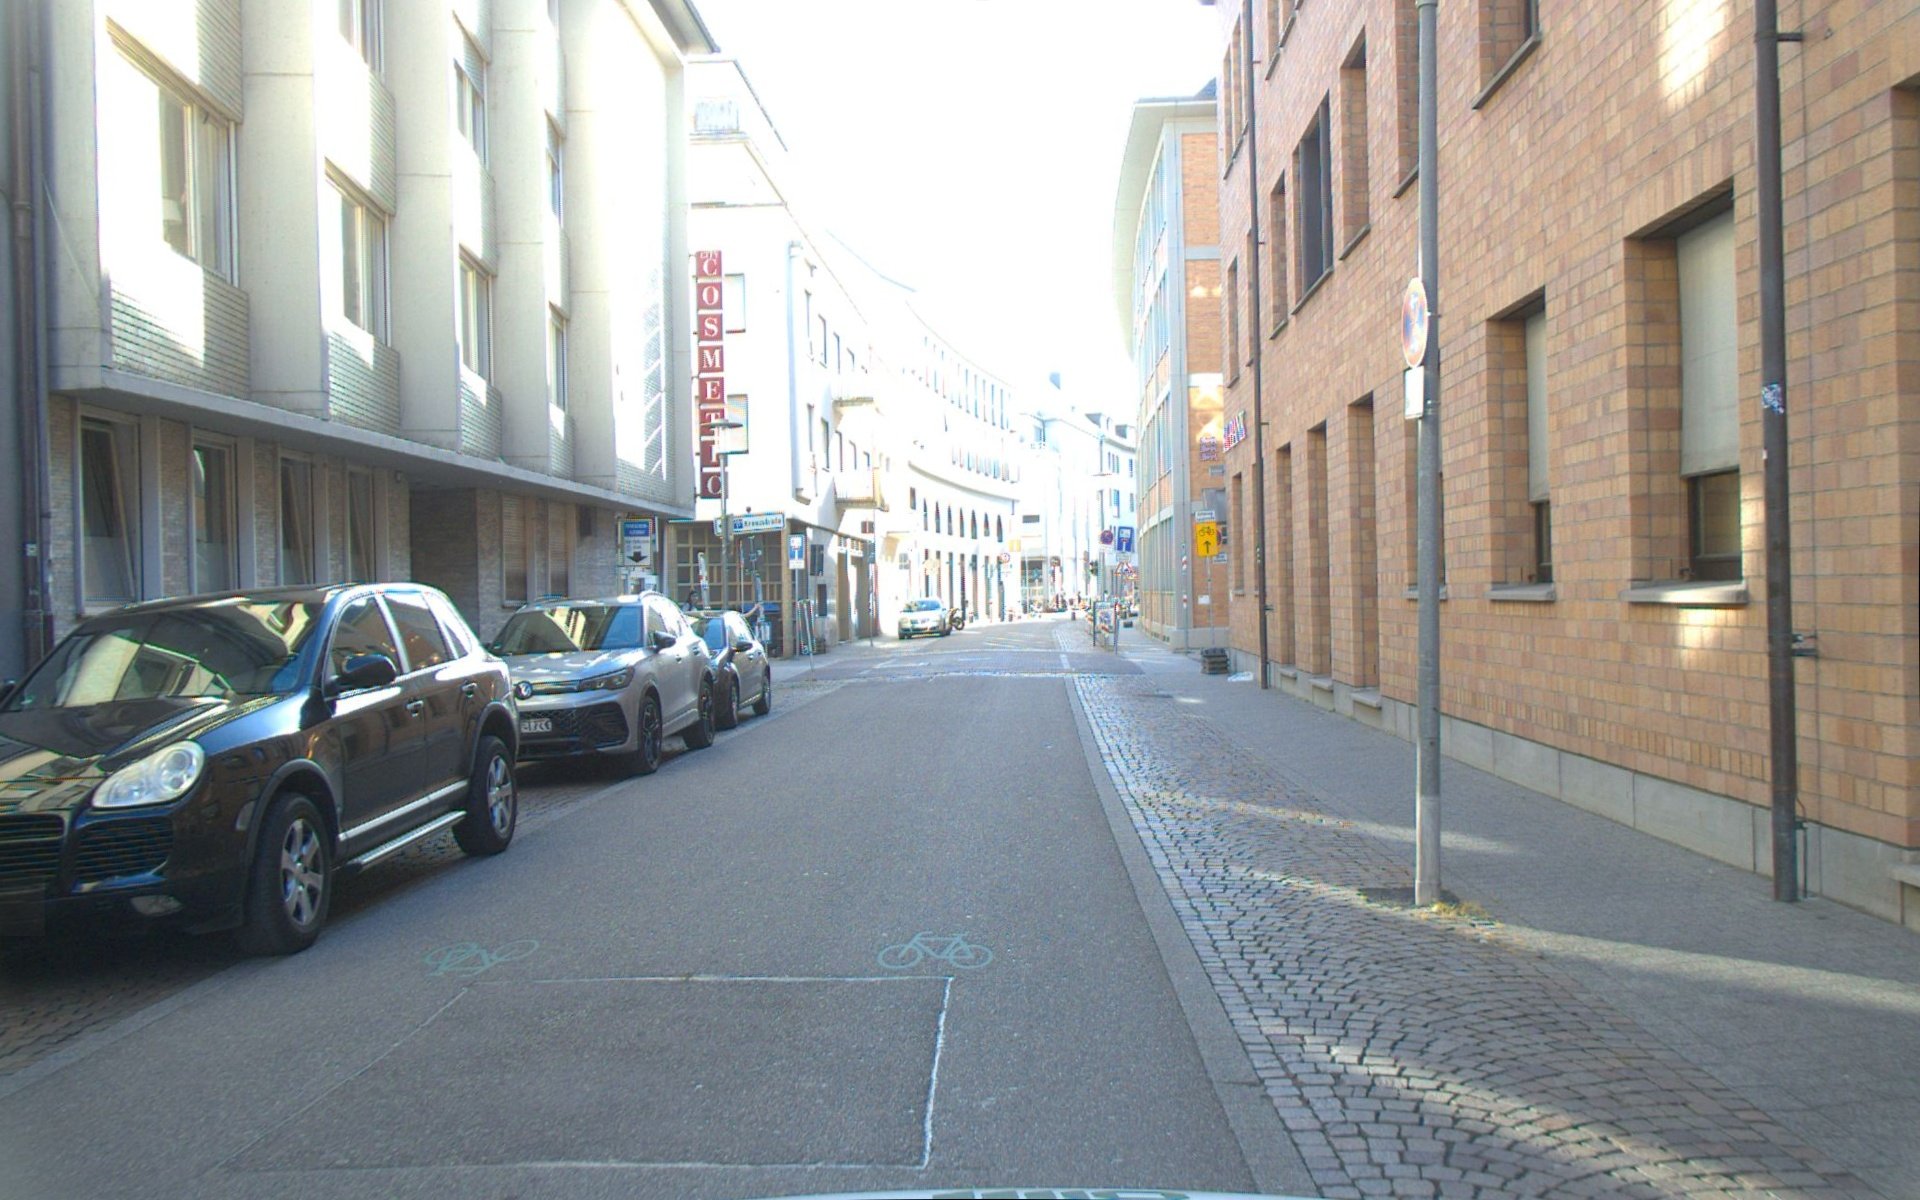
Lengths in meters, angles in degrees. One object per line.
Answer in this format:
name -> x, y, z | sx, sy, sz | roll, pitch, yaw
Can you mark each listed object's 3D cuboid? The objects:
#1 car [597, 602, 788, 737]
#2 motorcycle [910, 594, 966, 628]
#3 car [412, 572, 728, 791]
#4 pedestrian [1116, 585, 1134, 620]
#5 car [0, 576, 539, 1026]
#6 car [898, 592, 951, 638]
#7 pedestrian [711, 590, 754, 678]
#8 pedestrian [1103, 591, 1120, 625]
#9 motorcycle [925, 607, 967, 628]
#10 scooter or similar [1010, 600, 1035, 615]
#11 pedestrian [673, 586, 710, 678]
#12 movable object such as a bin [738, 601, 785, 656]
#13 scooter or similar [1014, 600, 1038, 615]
car -> -3.436, 0.845, 21.972 | 1.614, 1.486, 4.000 | -4, 0, 3
motorcycle -> -0.958, 0.483, 73.087 | 2.341, 1.340, 0.862 | -3, 0, 2
car -> -3.592, 0.664, 16.107 | 1.851, 1.772, 4.392 | -2, 0, 2
pedestrian -> 8.934, 0.123, 89.403 | 0.651, 1.901, 0.754 | 0, -1, -27
car -> -3.819, 0.772, 8.644 | 1.851, 1.705, 4.555 | -2, 1, 2
car -> -1.296, 0.525, 61.778 | 1.700, 1.634, 3.534 | -1, 0, 3
pedestrian -> -4.348, 0.643, 31.664 | 0.640, 1.654, 0.451 | -2, 0, -39
pedestrian -> 8.671, 0.463, 94.893 | 0.651, 1.901, 0.779 | 0, -1, -27
motorcycle -> -0.586, 0.713, 69.295 | 1.655, 0.874, 0.595 | 0, -1, 7
scooter or similar -> 3.944, 0.478, 104.257 | 0.516, 0.944, 2.222 | -1, 0, 32
pedestrian -> -5.255, 0.626, 32.348 | 0.439, 1.769, 0.552 | -1, 0, 25
movable object such as a bin -> -5.375, 0.767, 44.787 | 0.927, 1.444, 0.870 | 1, -1, -44
scooter or similar -> 4.311, 0.471, 107.353 | 0.516, 0.944, 2.222 | -1, 0, 32
